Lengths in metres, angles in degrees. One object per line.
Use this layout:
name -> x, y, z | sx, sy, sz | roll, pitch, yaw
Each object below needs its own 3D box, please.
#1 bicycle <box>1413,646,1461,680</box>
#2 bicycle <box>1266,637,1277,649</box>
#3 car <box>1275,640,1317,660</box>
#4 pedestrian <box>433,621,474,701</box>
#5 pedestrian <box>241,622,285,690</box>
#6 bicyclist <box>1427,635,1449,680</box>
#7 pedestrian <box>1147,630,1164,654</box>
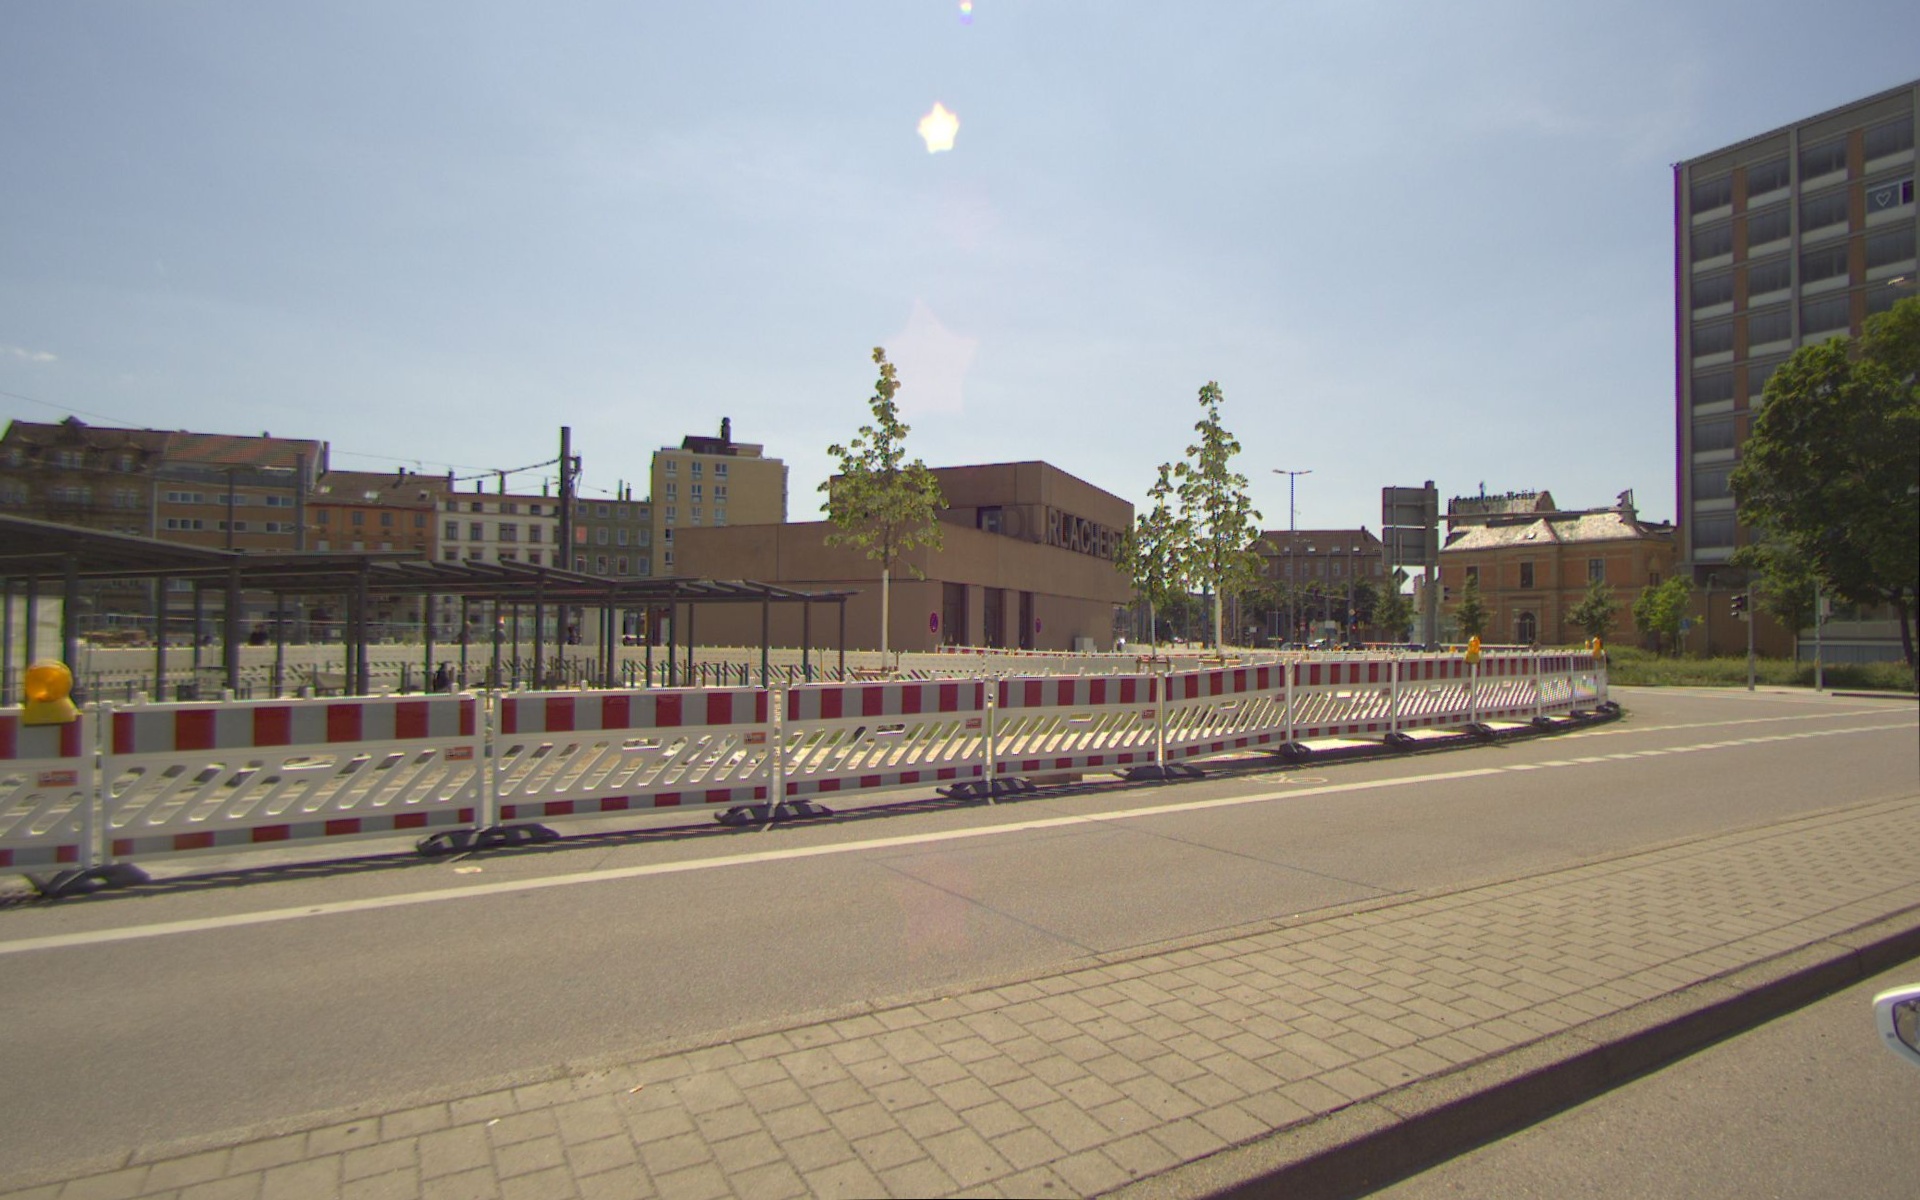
bicycle -> 17.359, 2.297, 36.571 | 0.515, 1.196, 1.894 | 1, -3, -12
bicycle -> 49.438, 6.817, 159.542 | 0.602, 1.812, 3.181 | 1, 0, -1
car -> 26.597, 3.940, 79.556 | 1.689, 1.577, 4.587 | 1, -2, -1
pedestrian -> -13.306, 1.587, 26.394 | 0.635, 2.040, 0.646 | 1, 0, 18
pedestrian -> -21.521, 1.711, 31.033 | 0.684, 2.040, 0.877 | 2, 0, 29
bicyclist -> 17.392, 2.081, 36.539 | 0.522, 1.600, 0.497 | 1, -3, -13
pedestrian -> 16.895, 3.602, 86.620 | 1.161, 1.959, 0.901 | 1, 0, -8
